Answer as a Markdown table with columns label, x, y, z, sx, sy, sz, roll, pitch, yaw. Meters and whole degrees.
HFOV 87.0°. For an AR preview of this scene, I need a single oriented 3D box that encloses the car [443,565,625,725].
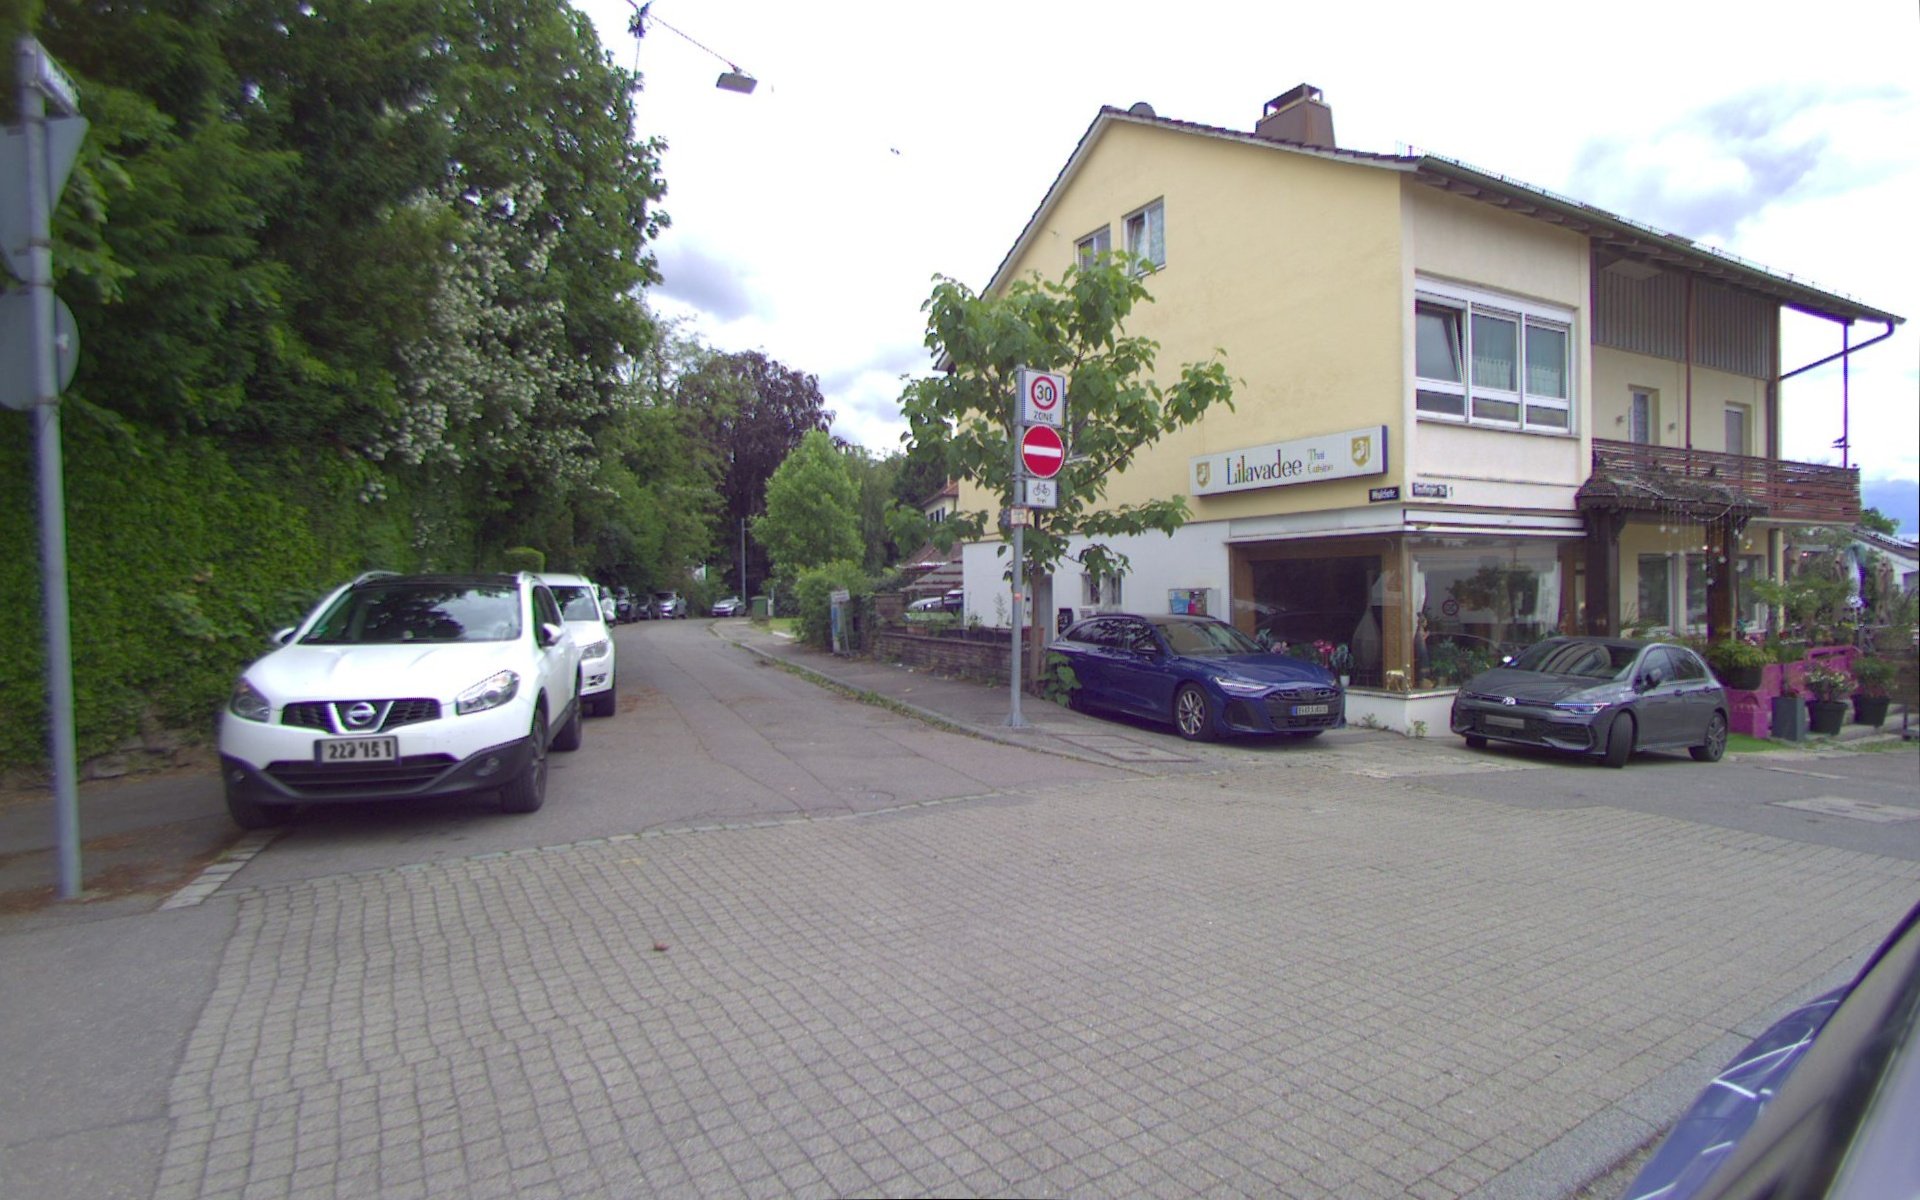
| label | x | y | z | sx | sy | sz | roll | pitch | yaw |
| --- | --- | --- | --- | --- | --- | --- | --- | --- | --- |
| car | -5.173 | 0.435 | 12.613 | 1.761 | 1.643 | 4.080 | -1 | 1 | -20 |

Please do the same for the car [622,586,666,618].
| label | x | y | z | sx | sy | sz | roll | pitch | yaw |
| --- | --- | --- | --- | --- | --- | --- | --- | --- | --- |
| car | -15.913 | 0.076 | 51.116 | 1.542 | 1.502 | 3.479 | -1 | 1 | -8 |

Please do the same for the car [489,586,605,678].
| label | x | y | z | sx | sy | sz | roll | pitch | yaw |
| --- | --- | --- | --- | --- | --- | --- | --- | --- | --- |
| car | -7.463 | 0.487 | 18.537 | 1.761 | 1.441 | 4.080 | -1 | 1 | -20 |

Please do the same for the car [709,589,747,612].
| label | x | y | z | sx | sy | sz | roll | pitch | yaw |
| --- | --- | --- | --- | --- | --- | --- | --- | --- | --- |
| car | -16.344 | 0.029 | 71.461 | 1.547 | 1.502 | 3.468 | 0 | 1 | 7 |

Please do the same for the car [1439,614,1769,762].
| label | x | y | z | sx | sy | sz | roll | pitch | yaw |
| --- | --- | --- | --- | --- | --- | --- | --- | --- | --- |
| car | 7.947 | 1.065 | 12.376 | 4.242 | 1.480 | 1.800 | 5 | -2 | -34 |

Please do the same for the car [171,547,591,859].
| label | x | y | z | sx | sy | sz | roll | pitch | yaw |
| --- | --- | --- | --- | --- | --- | --- | --- | --- | --- |
| car | -3.863 | 0.509 | 7.558 | 1.761 | 1.643 | 4.144 | -1 | 1 | -16 |

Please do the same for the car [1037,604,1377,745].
| label | x | y | z | sx | sy | sz | roll | pitch | yaw |
| --- | --- | --- | --- | --- | --- | --- | --- | --- | --- |
| car | 2.919 | 0.829 | 13.215 | 1.761 | 1.405 | 4.758 | 2 | 0 | -23 |

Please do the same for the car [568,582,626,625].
| label | x | y | z | sx | sy | sz | roll | pitch | yaw |
| --- | --- | --- | --- | --- | --- | --- | --- | --- | --- |
| car | -13.419 | 0.105 | 37.549 | 1.542 | 1.502 | 3.481 | -1 | 1 | -11 |

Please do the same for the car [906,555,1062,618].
| label | x | y | z | sx | sy | sz | roll | pitch | yaw |
| --- | --- | --- | --- | --- | --- | --- | --- | --- | --- |
| car | 0.713 | -0.373 | 30.275 | 4.235 | 1.480 | 1.802 | 4 | -2 | -19 |

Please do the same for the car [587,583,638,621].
| label | x | y | z | sx | sy | sz | roll | pitch | yaw |
| --- | --- | --- | --- | --- | --- | --- | --- | --- | --- |
| car | -14.203 | 0.046 | 41.530 | 1.542 | 1.502 | 3.481 | -1 | 1 | -11 |

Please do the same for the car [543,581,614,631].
| label | x | y | z | sx | sy | sz | roll | pitch | yaw |
| --- | --- | --- | --- | --- | --- | --- | --- | --- | --- |
| car | -12.213 | 0.140 | 32.596 | 1.542 | 1.502 | 3.745 | -1 | 1 | -11 |

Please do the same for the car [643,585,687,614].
| label | x | y | z | sx | sy | sz | roll | pitch | yaw |
| --- | --- | --- | --- | --- | --- | --- | --- | --- | --- |
| car | -16.237 | -0.040 | 55.798 | 1.543 | 1.502 | 3.476 | 0 | 1 | -3 |
